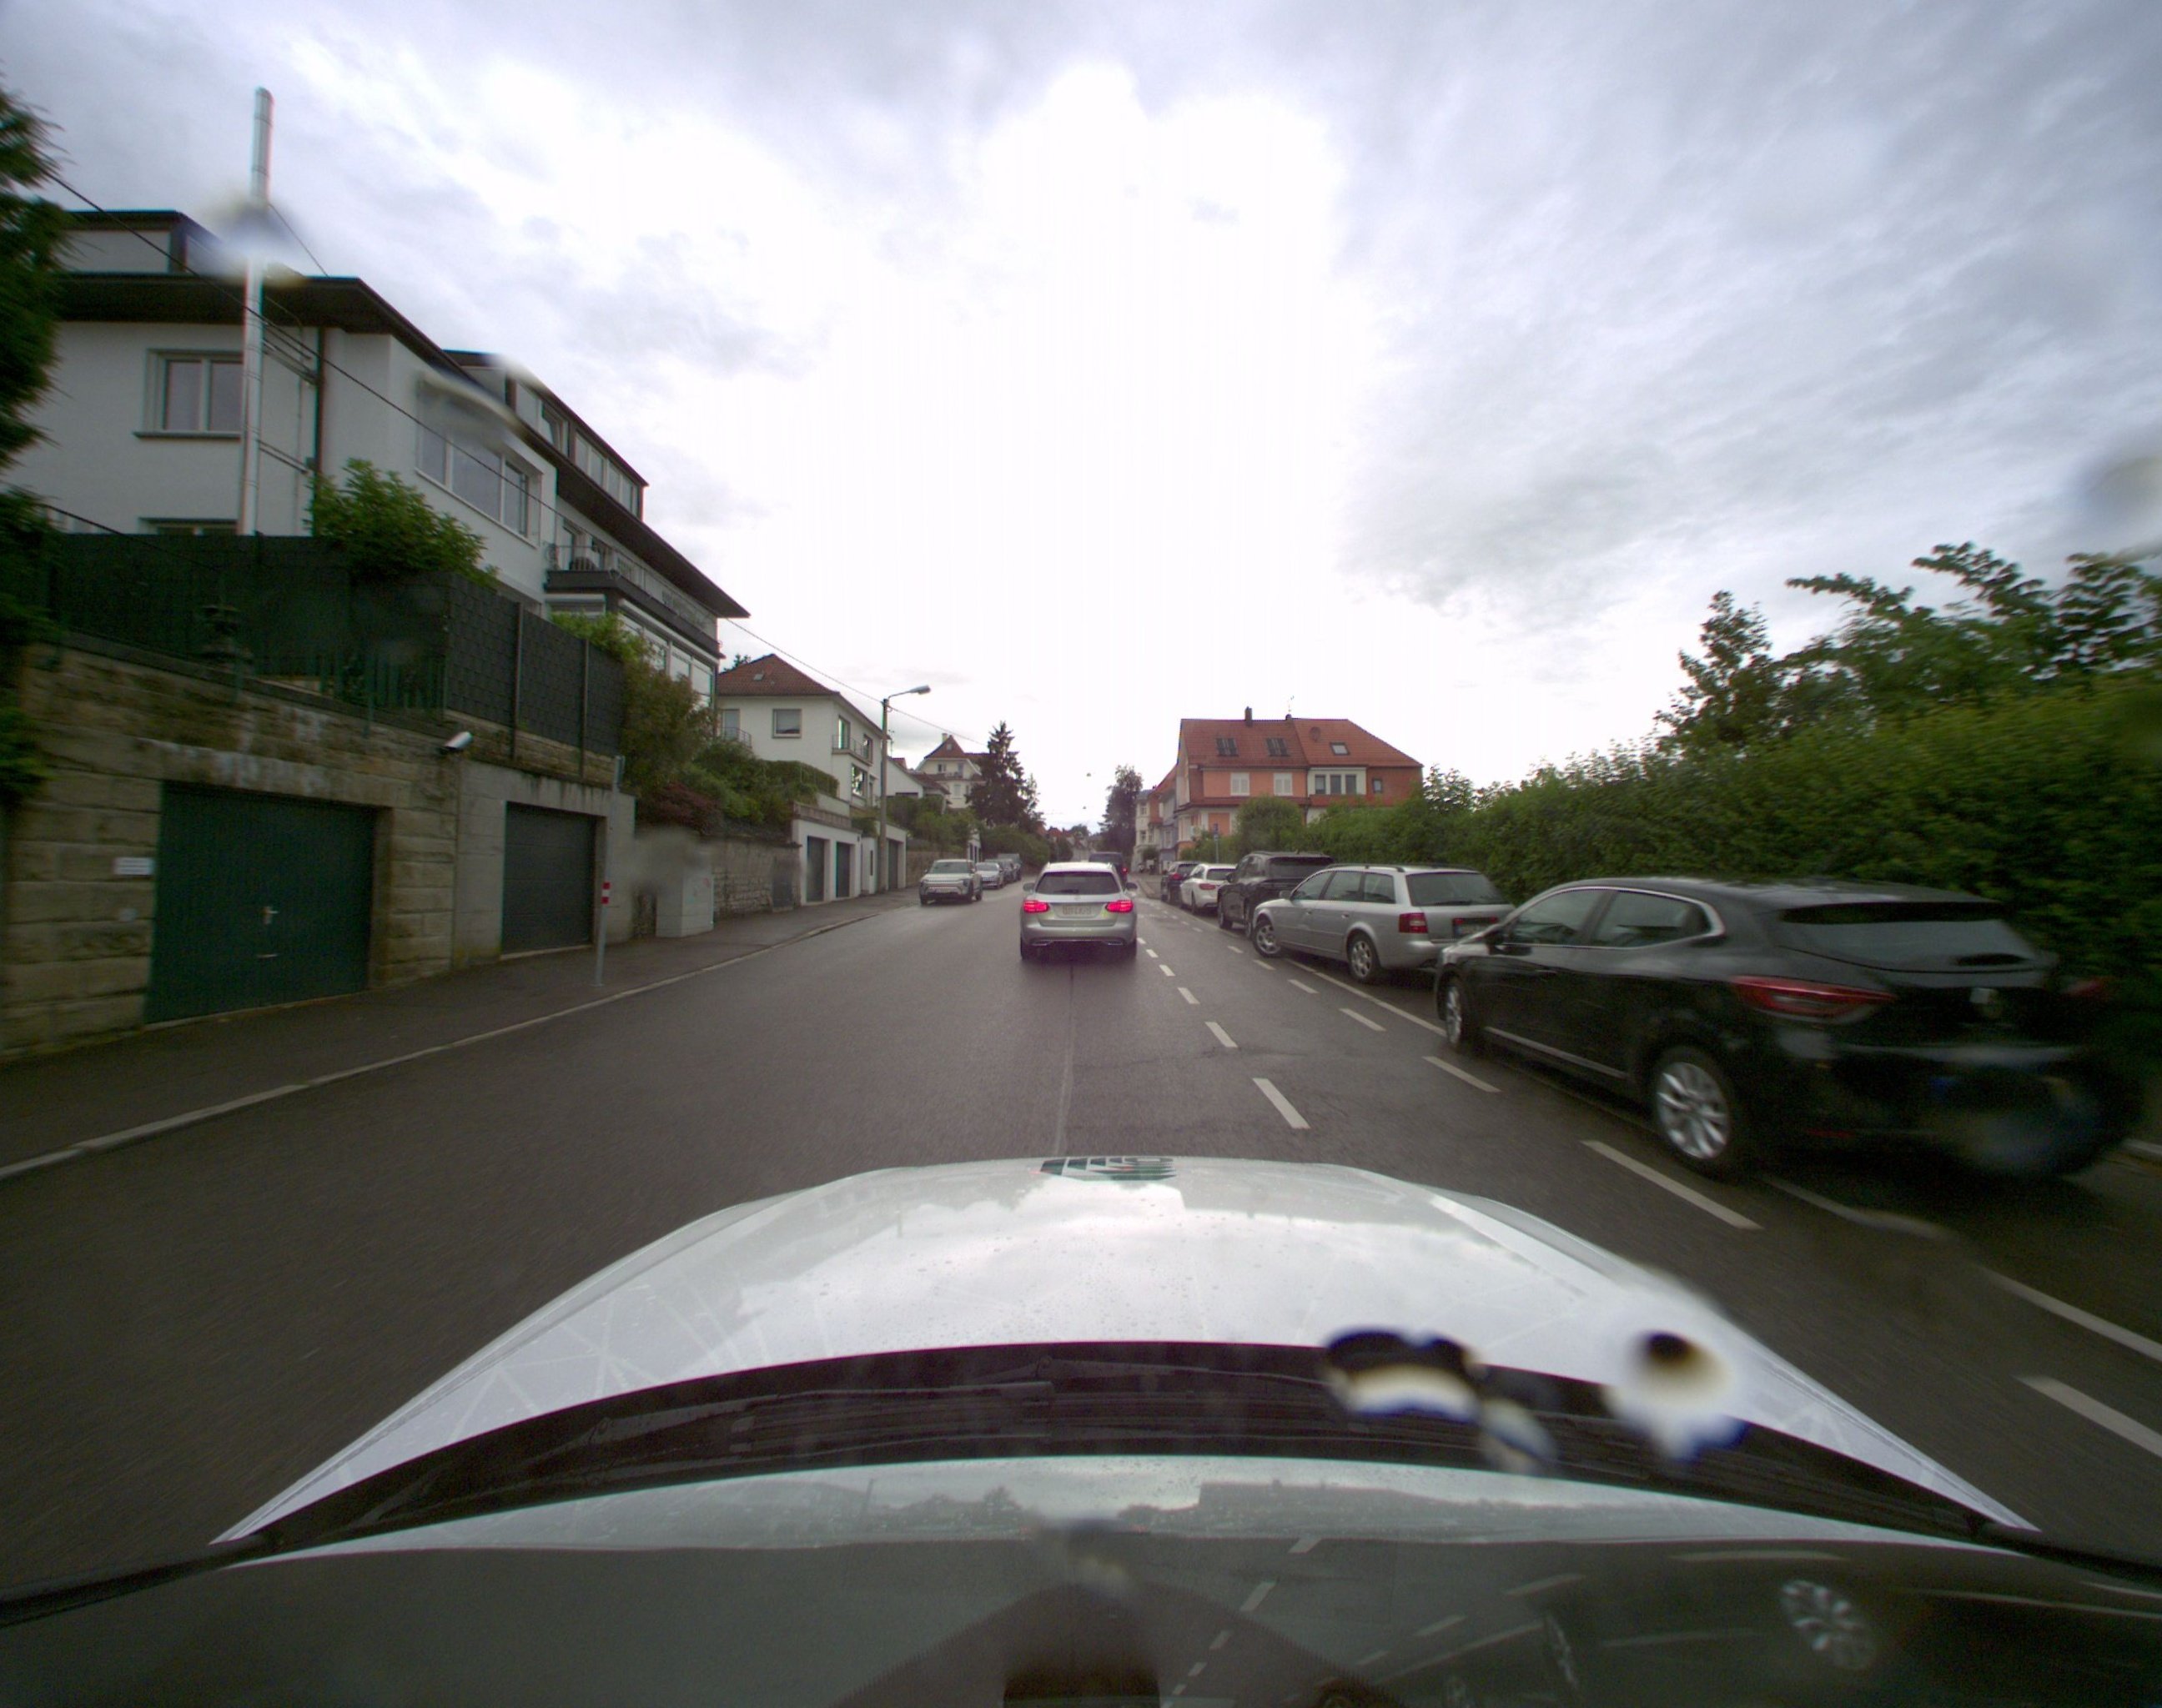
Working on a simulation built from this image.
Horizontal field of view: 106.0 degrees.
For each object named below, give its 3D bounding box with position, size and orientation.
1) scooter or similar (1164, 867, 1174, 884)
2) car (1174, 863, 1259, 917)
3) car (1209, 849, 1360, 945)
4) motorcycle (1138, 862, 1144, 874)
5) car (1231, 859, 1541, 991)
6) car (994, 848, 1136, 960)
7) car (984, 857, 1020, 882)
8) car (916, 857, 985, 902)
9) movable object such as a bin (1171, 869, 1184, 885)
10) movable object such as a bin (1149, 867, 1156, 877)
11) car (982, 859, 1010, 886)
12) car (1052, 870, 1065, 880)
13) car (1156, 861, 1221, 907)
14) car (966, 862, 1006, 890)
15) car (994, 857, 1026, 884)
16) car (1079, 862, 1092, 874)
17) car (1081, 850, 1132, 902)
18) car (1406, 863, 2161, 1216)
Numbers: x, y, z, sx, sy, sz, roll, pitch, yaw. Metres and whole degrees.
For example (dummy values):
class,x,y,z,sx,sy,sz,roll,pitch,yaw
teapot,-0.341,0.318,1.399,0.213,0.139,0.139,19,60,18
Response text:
class,x,y,z,sx,sy,sz,roll,pitch,yaw
scooter or similar,6.665,1.640,61.688,0.689,1.224,1.302,1,-1,8
car,3.913,1.000,24.246,1.708,1.405,4.606,1,-1,-1
car,3.993,0.786,16.826,1.882,1.663,4.545,2,-1,-1
motorcycle,6.145,1.416,83.159,0.579,1.262,2.333,-1,-1,3
car,3.900,0.814,11.429,1.801,1.440,4.620,1,0,-14
car,-0.159,0.722,13.510,1.975,1.554,4.299,0,-1,1
car,-5.062,0.996,52.711,1.892,1.515,4.341,2,-1,0
car,-4.776,0.920,30.433,1.892,1.567,4.237,0,-1,0
movable object such as a bin,6.400,1.530,54.011,0.709,1.030,0.757,-1,-1,-1
movable object such as a bin,6.490,1.615,73.668,0.547,0.936,0.634,-2,-1,0
car,-4.972,1.059,48.040,1.494,1.524,3.154,1,-1,-4
car,-3.634,3.441,132.506,2.111,1.471,4.015,1,-1,-1
car,3.832,1.057,29.633,1.748,1.530,4.204,1,-1,-1
car,-5.020,1.136,43.266,1.604,1.337,3.840,1,-1,0
car,-5.080,1.166,58.722,2.125,1.860,5.586,2,-1,-4
car,0.952,2.813,165.299,2.459,2.400,3.999,-2,-1,0
car,1.067,0.834,32.869,1.817,1.882,4.098,-3,0,3
car,3.746,0.793,5.302,1.683,1.422,3.982,0,-1,0
